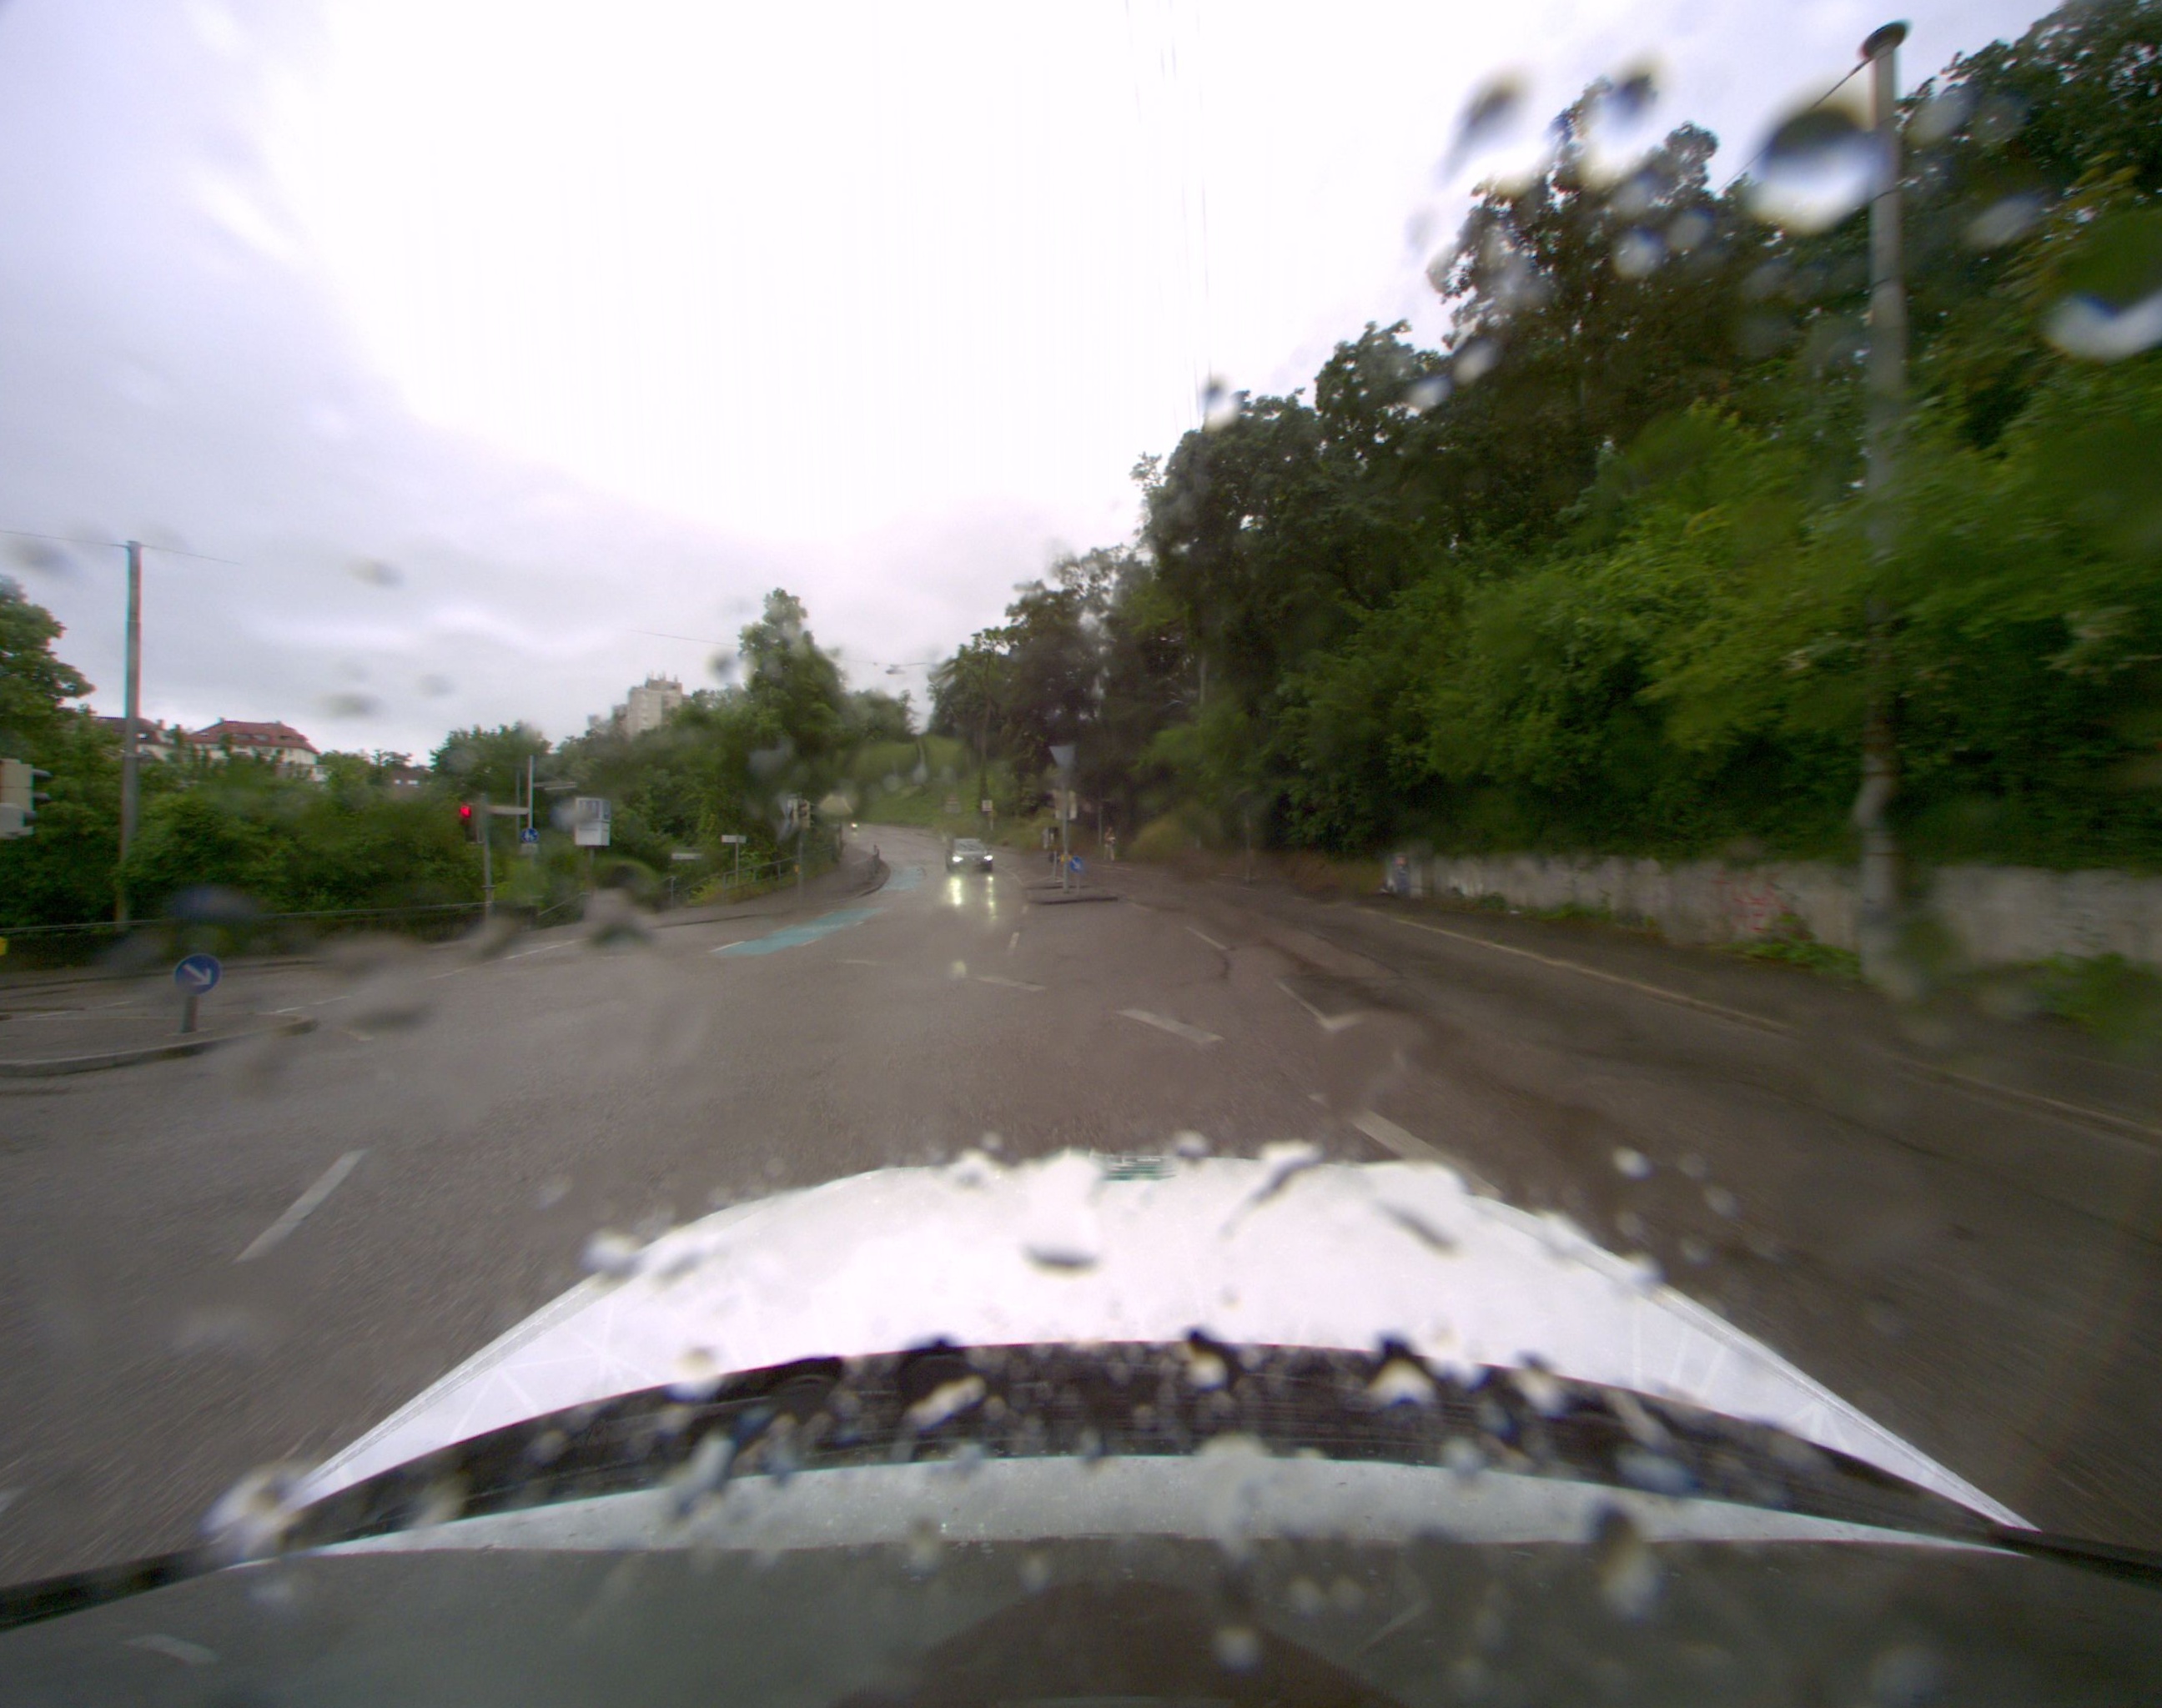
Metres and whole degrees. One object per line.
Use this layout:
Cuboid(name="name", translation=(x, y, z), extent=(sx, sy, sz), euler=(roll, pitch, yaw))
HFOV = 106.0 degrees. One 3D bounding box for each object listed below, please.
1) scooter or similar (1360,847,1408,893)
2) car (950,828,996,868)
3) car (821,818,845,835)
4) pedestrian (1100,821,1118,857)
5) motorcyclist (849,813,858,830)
Cuboid(name="scooter or similar", translation=(7.374, 0.370, 19.910), extent=(0.599, 1.075, 1.770), euler=(0, 1, 3))
Cuboid(name="car", translation=(-4.941, -0.318, 37.144), extent=(1.882, 1.521, 4.681), euler=(-2, 3, -8))
Cuboid(name="car", translation=(-26.577, -2.929, 87.154), extent=(1.845, 1.691, 3.969), euler=(-2, 4, -25))
Cuboid(name="pedestrian", translation=(1.388, -0.769, 40.629), extent=(0.649, 1.752, 0.795), euler=(0, 2, -17))
Cuboid(name="motorcyclist", translation=(-26.148, -3.742, 93.588), extent=(0.886, 1.873, 1.247), euler=(-1, 3, -18))
